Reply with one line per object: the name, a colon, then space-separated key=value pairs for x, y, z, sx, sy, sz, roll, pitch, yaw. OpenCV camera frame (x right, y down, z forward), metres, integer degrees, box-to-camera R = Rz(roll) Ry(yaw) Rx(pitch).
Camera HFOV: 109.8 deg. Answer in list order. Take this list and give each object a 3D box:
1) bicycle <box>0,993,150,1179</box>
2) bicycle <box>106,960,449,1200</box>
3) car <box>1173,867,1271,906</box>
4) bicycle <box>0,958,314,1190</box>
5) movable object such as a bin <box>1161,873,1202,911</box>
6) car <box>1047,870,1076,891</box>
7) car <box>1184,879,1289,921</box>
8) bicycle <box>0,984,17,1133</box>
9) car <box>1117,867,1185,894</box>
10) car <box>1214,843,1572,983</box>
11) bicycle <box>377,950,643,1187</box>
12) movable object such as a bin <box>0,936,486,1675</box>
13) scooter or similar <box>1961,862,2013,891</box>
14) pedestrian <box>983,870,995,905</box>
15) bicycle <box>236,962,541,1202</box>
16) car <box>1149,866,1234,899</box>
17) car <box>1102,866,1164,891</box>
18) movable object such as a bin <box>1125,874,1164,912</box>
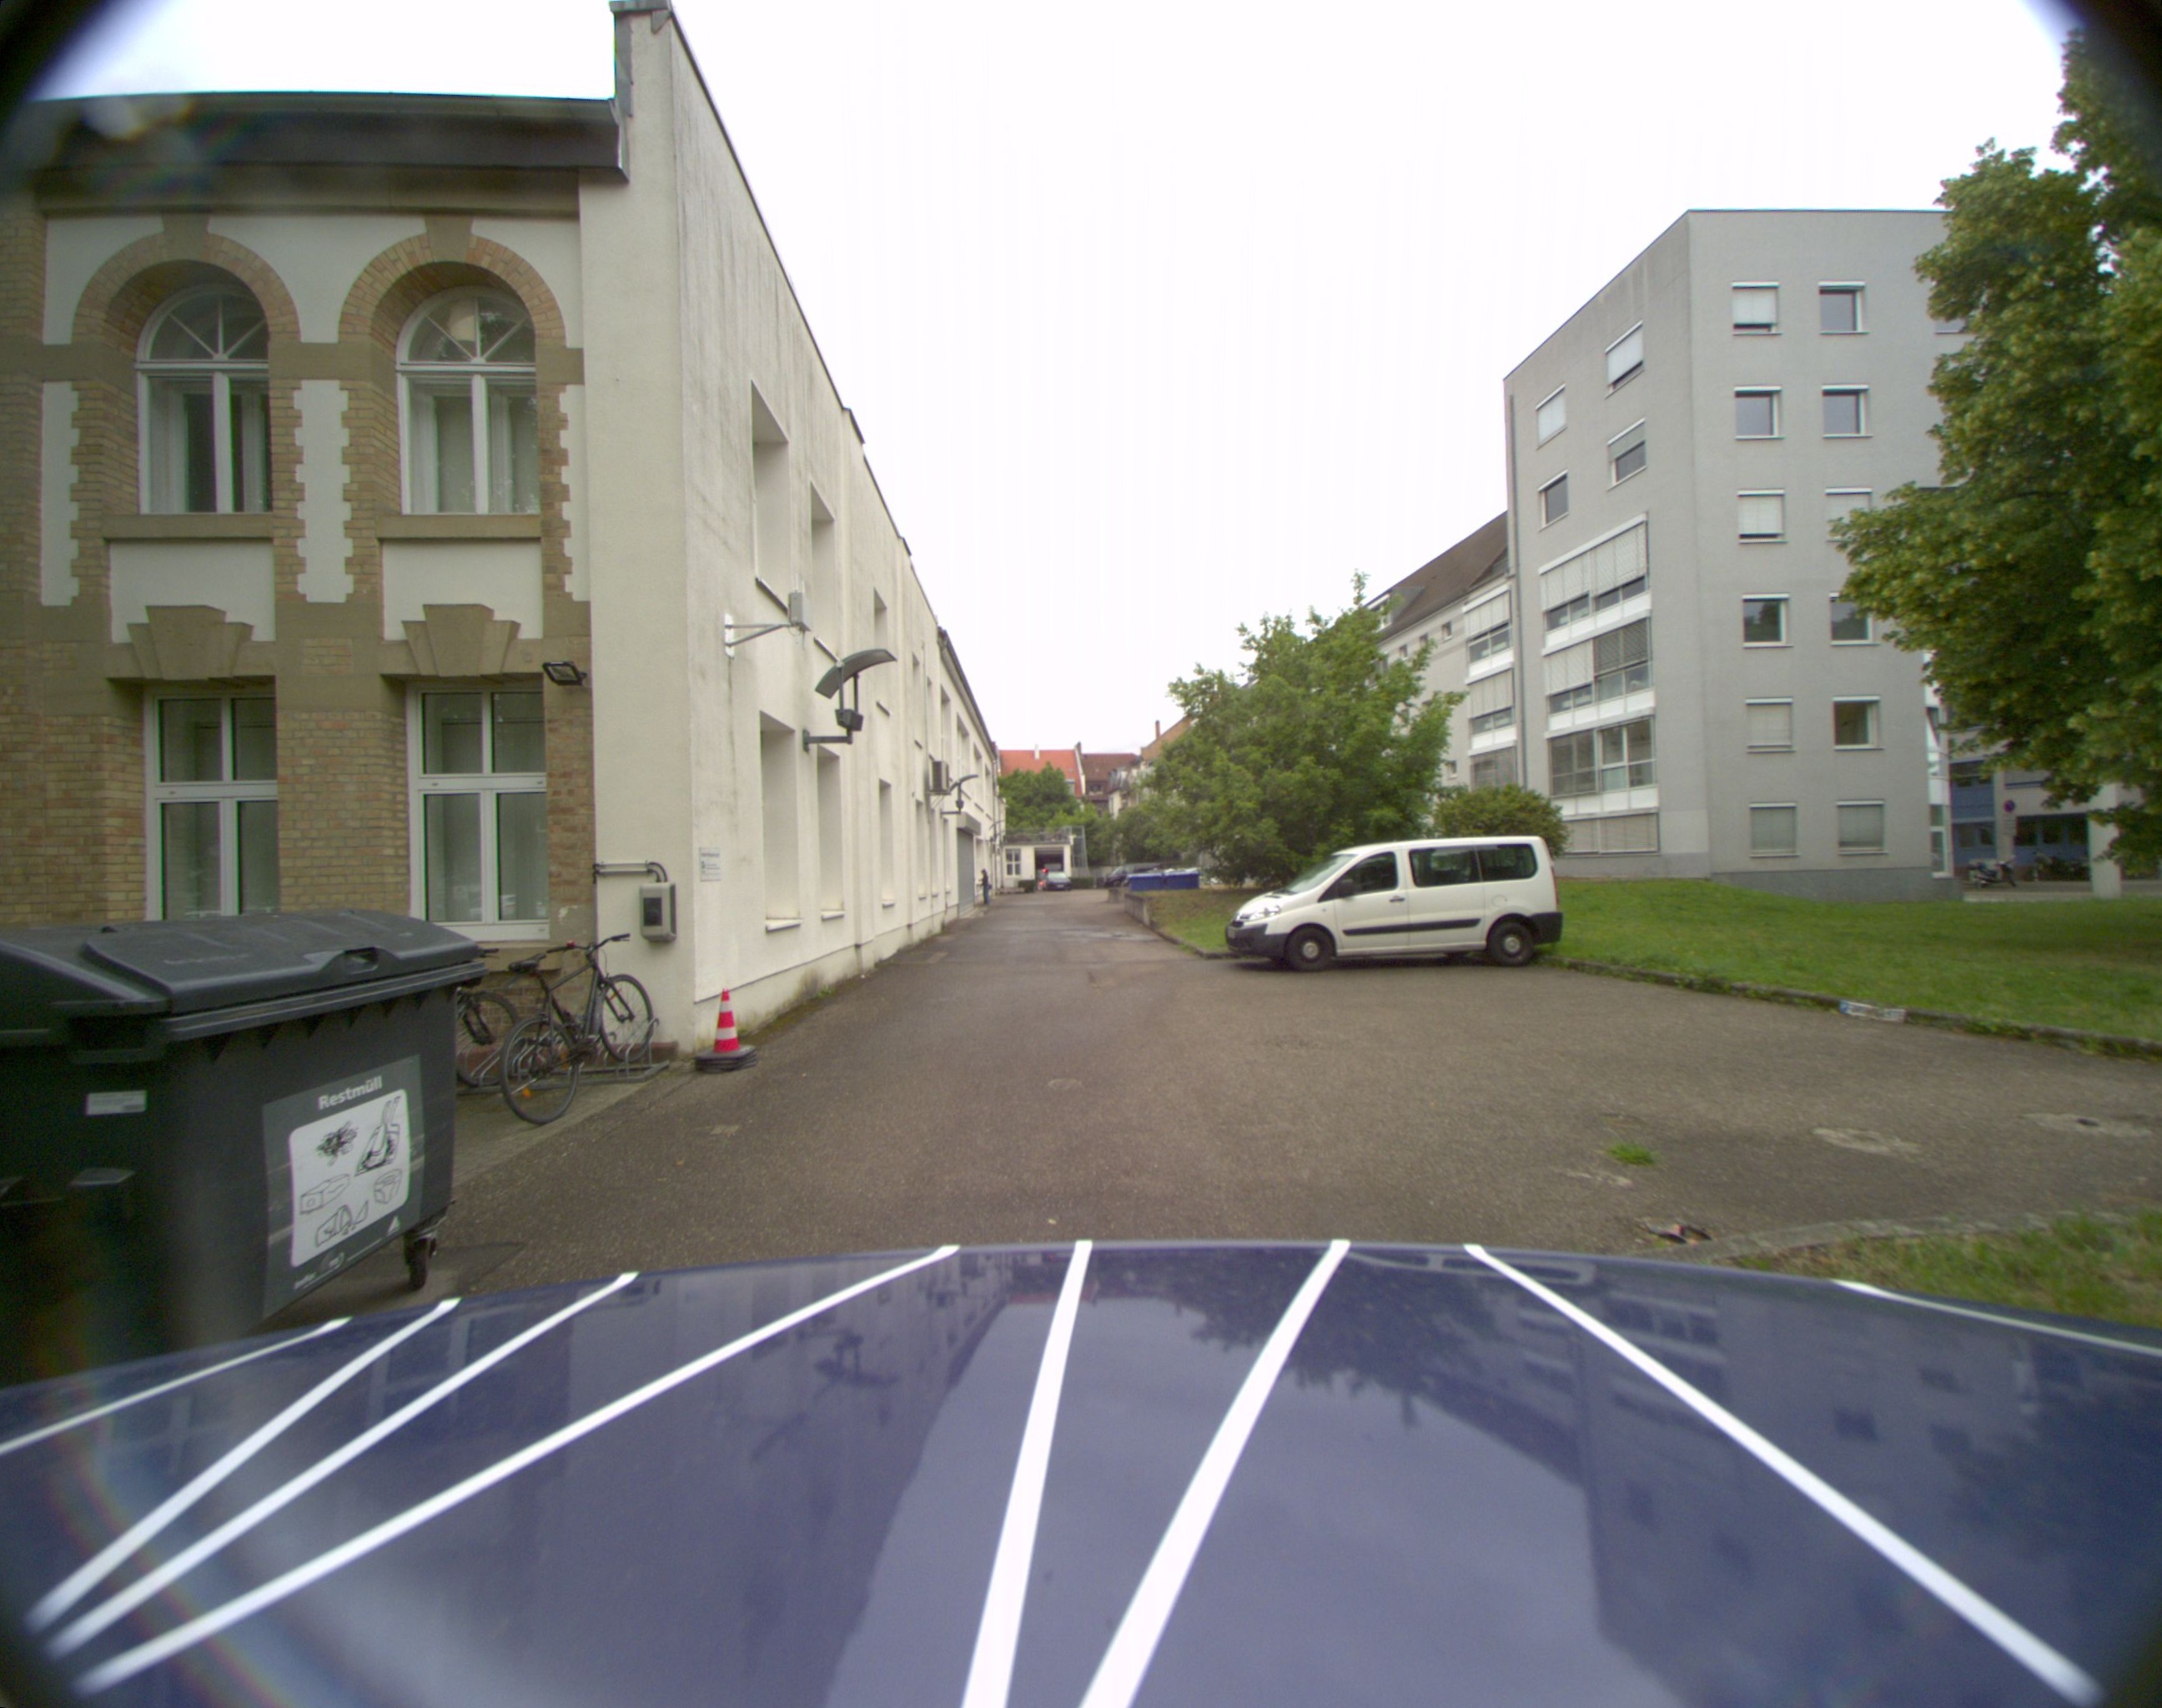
bicycle: x=-7.498 y=1.634 z=5.052 sx=0.460 sy=1.108 sz=1.744 roll=-1 pitch=0 yaw=-1
bicycle: x=-5.237 y=1.390 z=5.140 sx=0.460 sy=1.108 sz=1.744 roll=-1 pitch=0 yaw=-1
car: x=6.988 y=1.589 z=37.884 sx=4.341 sy=1.724 sz=1.999 roll=-1 pitch=0 yaw=-9
bicycle: x=-6.415 y=1.386 z=5.227 sx=0.460 sy=1.108 sz=1.745 roll=-1 pitch=0 yaw=1
movable object such as a bin: x=3.616 y=1.359 z=27.459 sx=1.180 sy=1.299 sz=1.228 roll=-2 pitch=-1 yaw=-4
car: x=-1.518 y=1.969 z=57.336 sx=1.920 sy=1.390 sz=3.998 roll=-2 pitch=0 yaw=-6
car: x=7.177 y=2.097 z=35.360 sx=4.341 sy=1.724 sz=1.999 roll=-1 pitch=0 yaw=-9
bicycle: x=-8.363 y=1.545 z=4.929 sx=0.460 sy=1.108 sz=1.744 roll=-1 pitch=0 yaw=-1
car: x=4.790 y=1.813 z=52.304 sx=4.341 sy=1.724 sz=1.999 roll=-1 pitch=0 yaw=-9
car: x=4.671 y=0.891 z=11.908 sx=4.770 sy=1.861 sz=1.902 roll=-2 pitch=-2 yaw=-1
bicycle: x=-3.691 y=1.305 z=5.111 sx=0.460 sy=1.108 sz=1.744 roll=-1 pitch=0 yaw=-1
movable object such as a bin: x=-2.813 y=1.047 z=2.230 sx=1.109 sy=1.441 sz=1.362 roll=-2 pitch=0 yaw=-8
scooter or similar: x=39.540 y=0.973 z=33.145 sx=2.521 sy=1.181 sz=0.795 roll=-1 pitch=0 yaw=-24
pedestrian: x=-4.174 y=1.503 z=34.435 sx=0.499 sy=1.553 sz=0.429 roll=-1 pitch=0 yaw=-7
bicycle: x=-4.525 y=1.408 z=5.156 sx=0.460 sy=1.108 sz=1.744 roll=-1 pitch=0 yaw=-1
car: x=6.243 y=1.606 z=43.210 sx=4.341 sy=1.724 sz=1.999 roll=-1 pitch=0 yaw=-9
car: x=3.945 y=1.833 z=57.707 sx=4.341 sy=1.724 sz=1.999 roll=-1 pitch=0 yaw=-9
movable object such as a bin: x=2.270 y=1.400 z=27.319 sx=1.180 sy=1.299 sz=1.228 roll=-2 pitch=-1 yaw=-4
